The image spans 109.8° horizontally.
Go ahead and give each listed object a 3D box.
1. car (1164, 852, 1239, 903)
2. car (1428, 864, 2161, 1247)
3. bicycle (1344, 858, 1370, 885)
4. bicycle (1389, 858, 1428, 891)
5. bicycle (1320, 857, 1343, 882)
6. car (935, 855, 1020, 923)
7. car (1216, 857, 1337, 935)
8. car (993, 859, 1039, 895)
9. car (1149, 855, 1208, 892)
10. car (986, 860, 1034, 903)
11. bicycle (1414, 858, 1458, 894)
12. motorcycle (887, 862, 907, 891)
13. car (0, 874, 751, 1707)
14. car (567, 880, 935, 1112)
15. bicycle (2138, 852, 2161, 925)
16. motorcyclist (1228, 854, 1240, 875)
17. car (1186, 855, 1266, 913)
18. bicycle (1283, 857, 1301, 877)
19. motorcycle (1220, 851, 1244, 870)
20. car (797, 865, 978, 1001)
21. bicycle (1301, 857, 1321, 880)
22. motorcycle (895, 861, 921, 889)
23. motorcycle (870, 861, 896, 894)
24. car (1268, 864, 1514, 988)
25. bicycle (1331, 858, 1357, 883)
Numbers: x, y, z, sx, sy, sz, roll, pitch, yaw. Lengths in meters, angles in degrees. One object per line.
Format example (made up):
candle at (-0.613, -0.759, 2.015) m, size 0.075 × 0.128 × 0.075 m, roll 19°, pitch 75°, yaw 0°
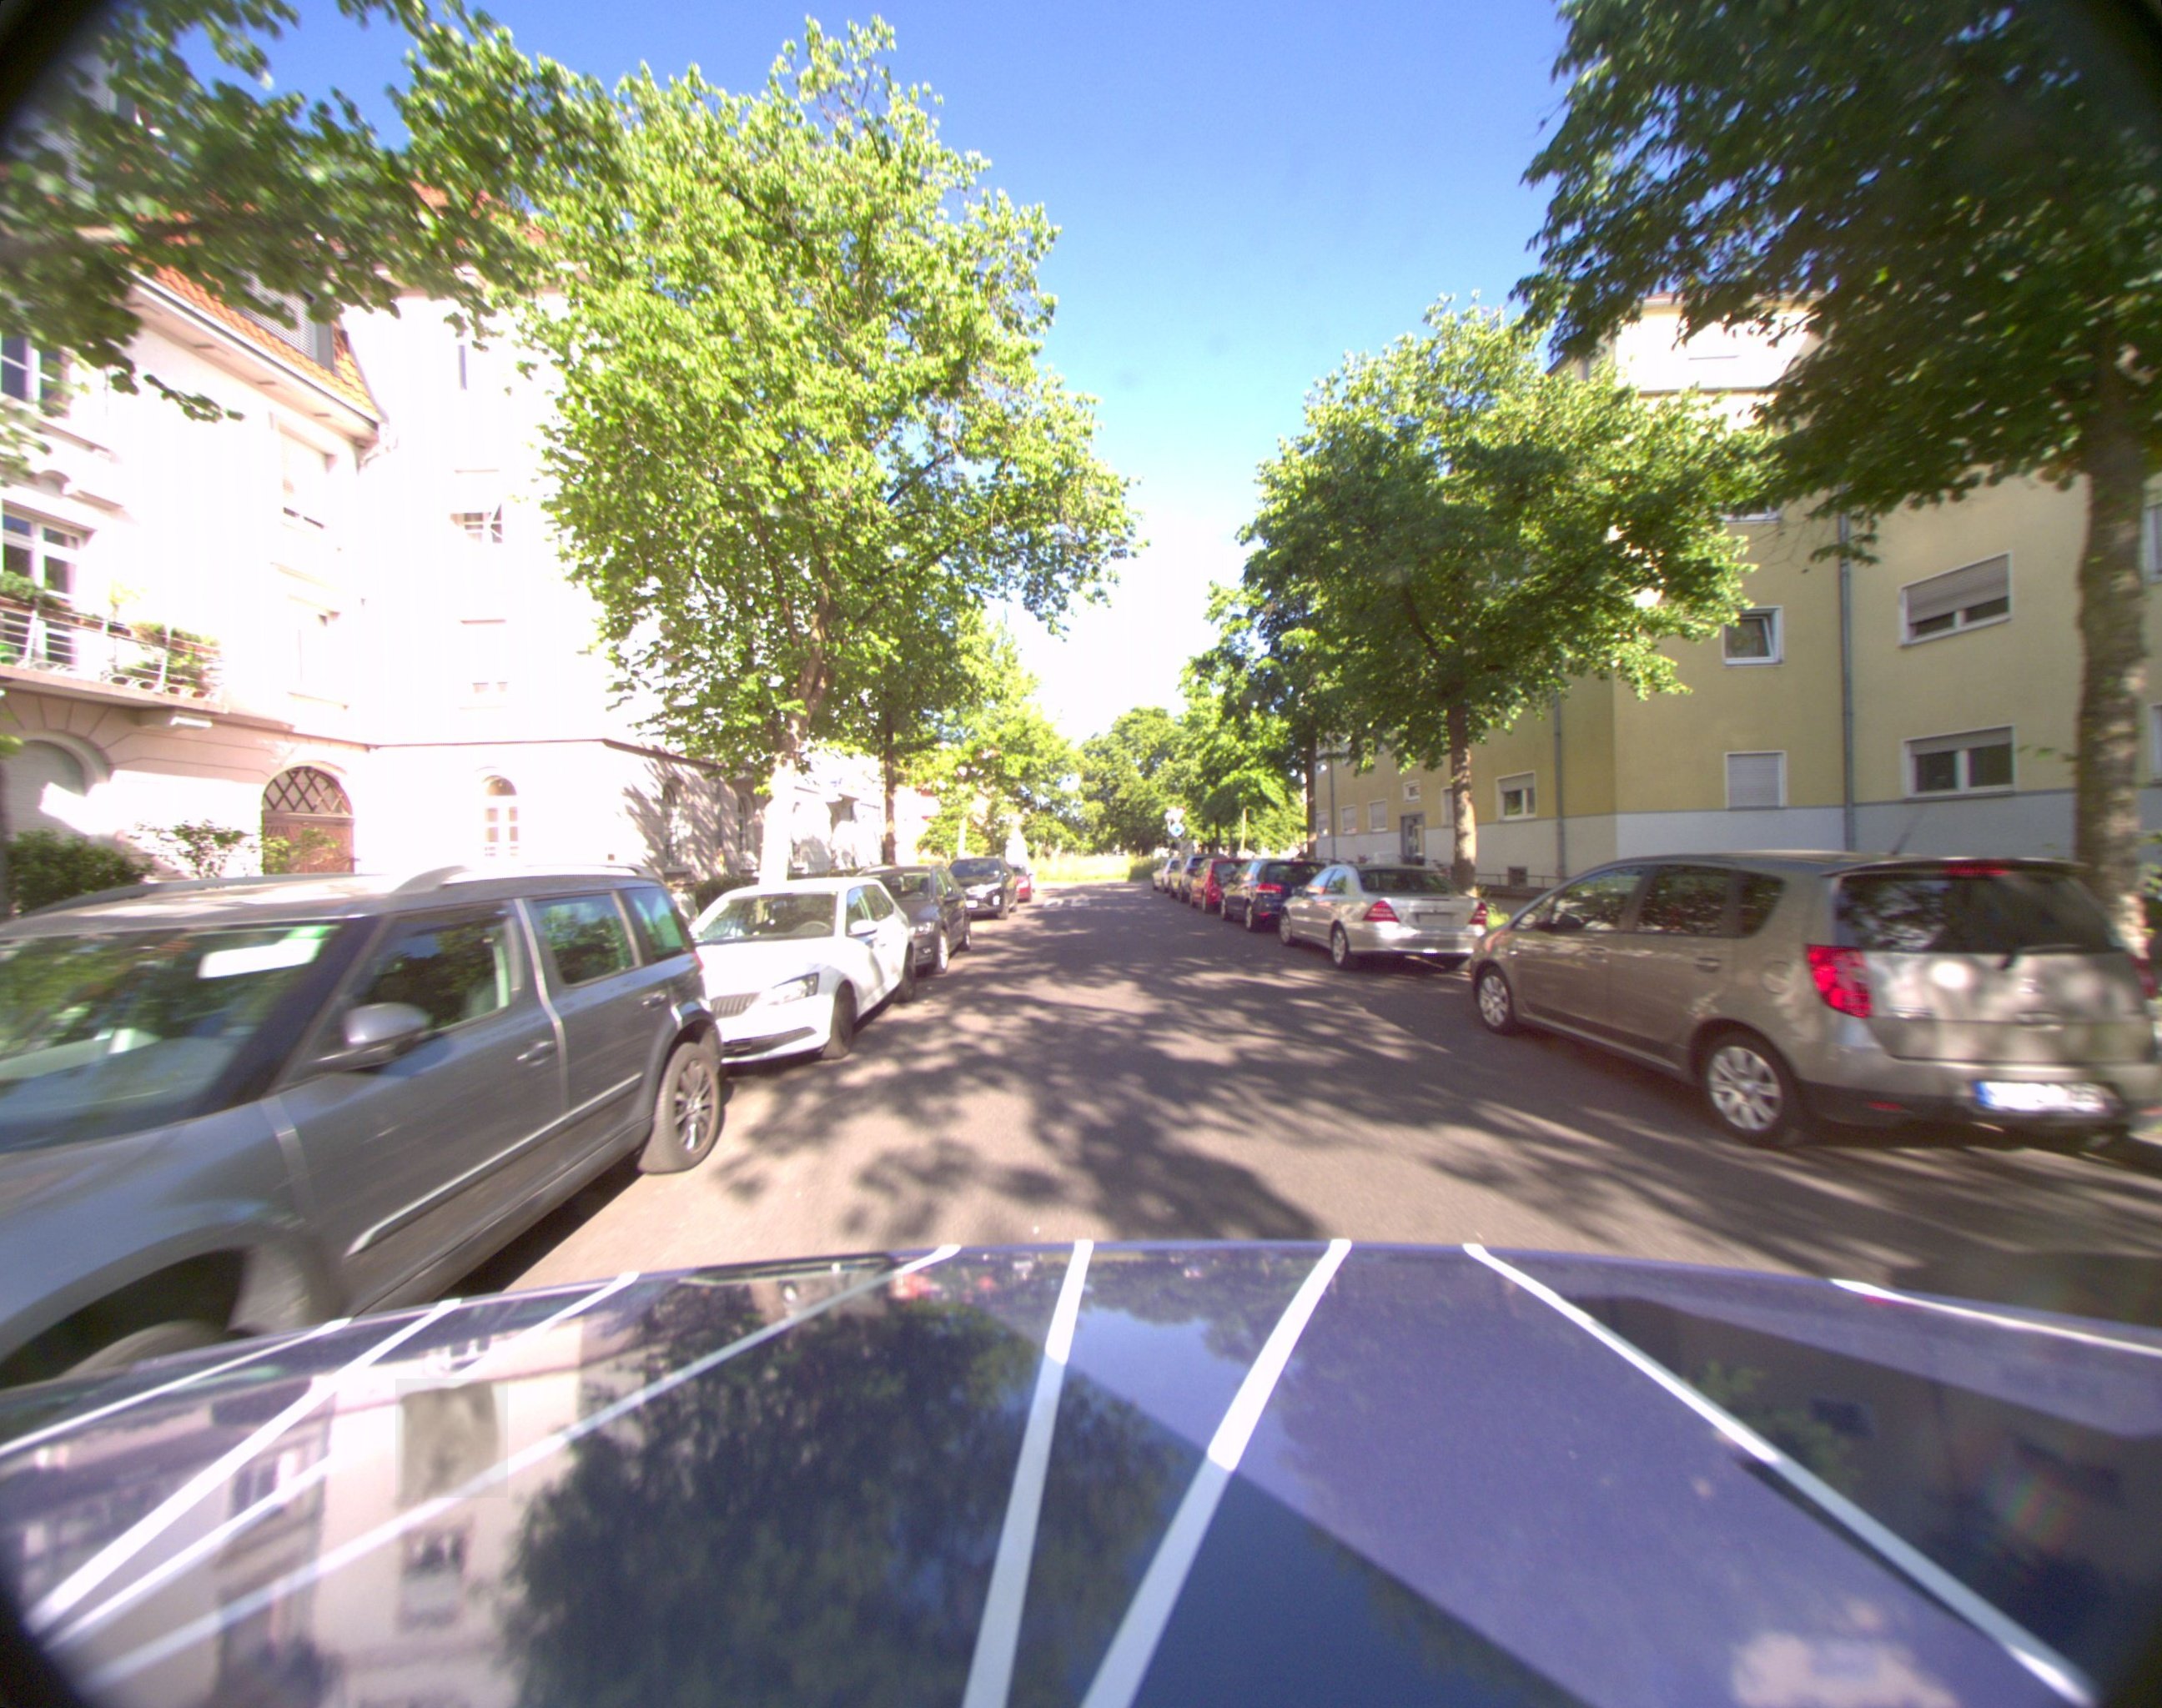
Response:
car at (4.041, 0.732, 26.181) m, size 1.696 × 1.556 × 4.735 m, roll -2°, pitch 0°, yaw -1°
car at (4.171, 0.869, 5.284) m, size 1.624 × 1.506 × 4.269 m, roll 1°, pitch 0°, yaw 1°
bicycle at (10.471, 0.645, 28.858) m, size 0.516 × 0.995 × 1.545 m, roll -1°, pitch 0°, yaw 4°
bicycle at (10.690, 0.651, 24.845) m, size 0.541 × 1.021 × 1.748 m, roll -2°, pitch 0°, yaw 2°
bicycle at (10.659, 0.645, 32.407) m, size 0.435 × 0.995 × 1.681 m, roll -2°, pitch 0°, yaw 1°
car at (-2.776, 0.880, 21.288) m, size 1.785 × 1.688 × 4.297 m, roll -1°, pitch 0°, yaw 0°
car at (4.139, 0.819, 16.699) m, size 1.669 × 1.450 × 3.932 m, roll -2°, pitch 0°, yaw 1°
car at (-2.771, 0.941, 33.227) m, size 1.657 × 1.394 × 4.135 m, roll -2°, pitch 0°, yaw 0°
car at (4.113, 0.800, 32.602) m, size 1.765 × 1.433 × 3.993 m, roll -2°, pitch 0°, yaw -3°
car at (-2.594, 0.969, 28.389) m, size 1.616 × 1.401 × 4.350 m, roll -2°, pitch 0°, yaw -3°
bicycle at (10.687, 0.644, 22.911) m, size 0.537 × 1.021 × 1.748 m, roll -2°, pitch 0°, yaw 2°
motorcycle at (-8.519, 1.028, 35.260) m, size 0.658 × 1.272 × 1.799 m, roll 0°, pitch 0°, yaw -6°
car at (-2.826, 0.977, 2.788) m, size 1.653 × 1.646 × 3.846 m, roll -2°, pitch 0°, yaw -3°
car at (-2.701, 1.061, 7.433) m, size 1.634 × 1.417 × 4.368 m, roll -1°, pitch 0°, yaw 0°
bicycle at (14.607, 0.431, 9.700) m, size 1.637 × 0.925 × 0.481 m, roll -1°, pitch 0°, yaw -3°
motorcyclist at (10.034, 0.671, 49.901) m, size 0.520 × 1.394 × 0.553 m, roll -1°, pitch 1°, yaw -37°
car at (4.035, 0.783, 21.598) m, size 1.669 × 1.477 × 3.256 m, roll -2°, pitch 0°, yaw 1°
bicycle at (10.581, 0.649, 38.149) m, size 0.477 × 0.995 × 1.545 m, roll -2°, pitch 0°, yaw 1°
motorcycle at (9.923, 0.403, 49.825) m, size 1.635 × 1.168 × 0.553 m, roll -2°, pitch 1°, yaw -36°
car at (-2.787, 1.045, 12.029) m, size 1.688 × 1.579 × 4.535 m, roll -4°, pitch 0°, yaw -1°
bicycle at (10.518, 0.644, 34.822) m, size 0.454 × 0.995 × 1.545 m, roll -2°, pitch 0°, yaw 1°
motorcycle at (-8.427, 1.006, 37.130) m, size 0.973 × 1.321 × 1.852 m, roll -2°, pitch 0°, yaw -5°
motorcycle at (-8.569, 0.989, 32.899) m, size 0.540 × 1.353 × 2.089 m, roll -2°, pitch 0°, yaw 0°
car at (4.206, 0.867, 11.222) m, size 1.750 × 1.361 × 4.674 m, roll -1°, pitch 0°, yaw 0°
bicycle at (10.543, 0.650, 30.525) m, size 0.513 × 0.995 × 1.545 m, roll -2°, pitch 0°, yaw 1°
